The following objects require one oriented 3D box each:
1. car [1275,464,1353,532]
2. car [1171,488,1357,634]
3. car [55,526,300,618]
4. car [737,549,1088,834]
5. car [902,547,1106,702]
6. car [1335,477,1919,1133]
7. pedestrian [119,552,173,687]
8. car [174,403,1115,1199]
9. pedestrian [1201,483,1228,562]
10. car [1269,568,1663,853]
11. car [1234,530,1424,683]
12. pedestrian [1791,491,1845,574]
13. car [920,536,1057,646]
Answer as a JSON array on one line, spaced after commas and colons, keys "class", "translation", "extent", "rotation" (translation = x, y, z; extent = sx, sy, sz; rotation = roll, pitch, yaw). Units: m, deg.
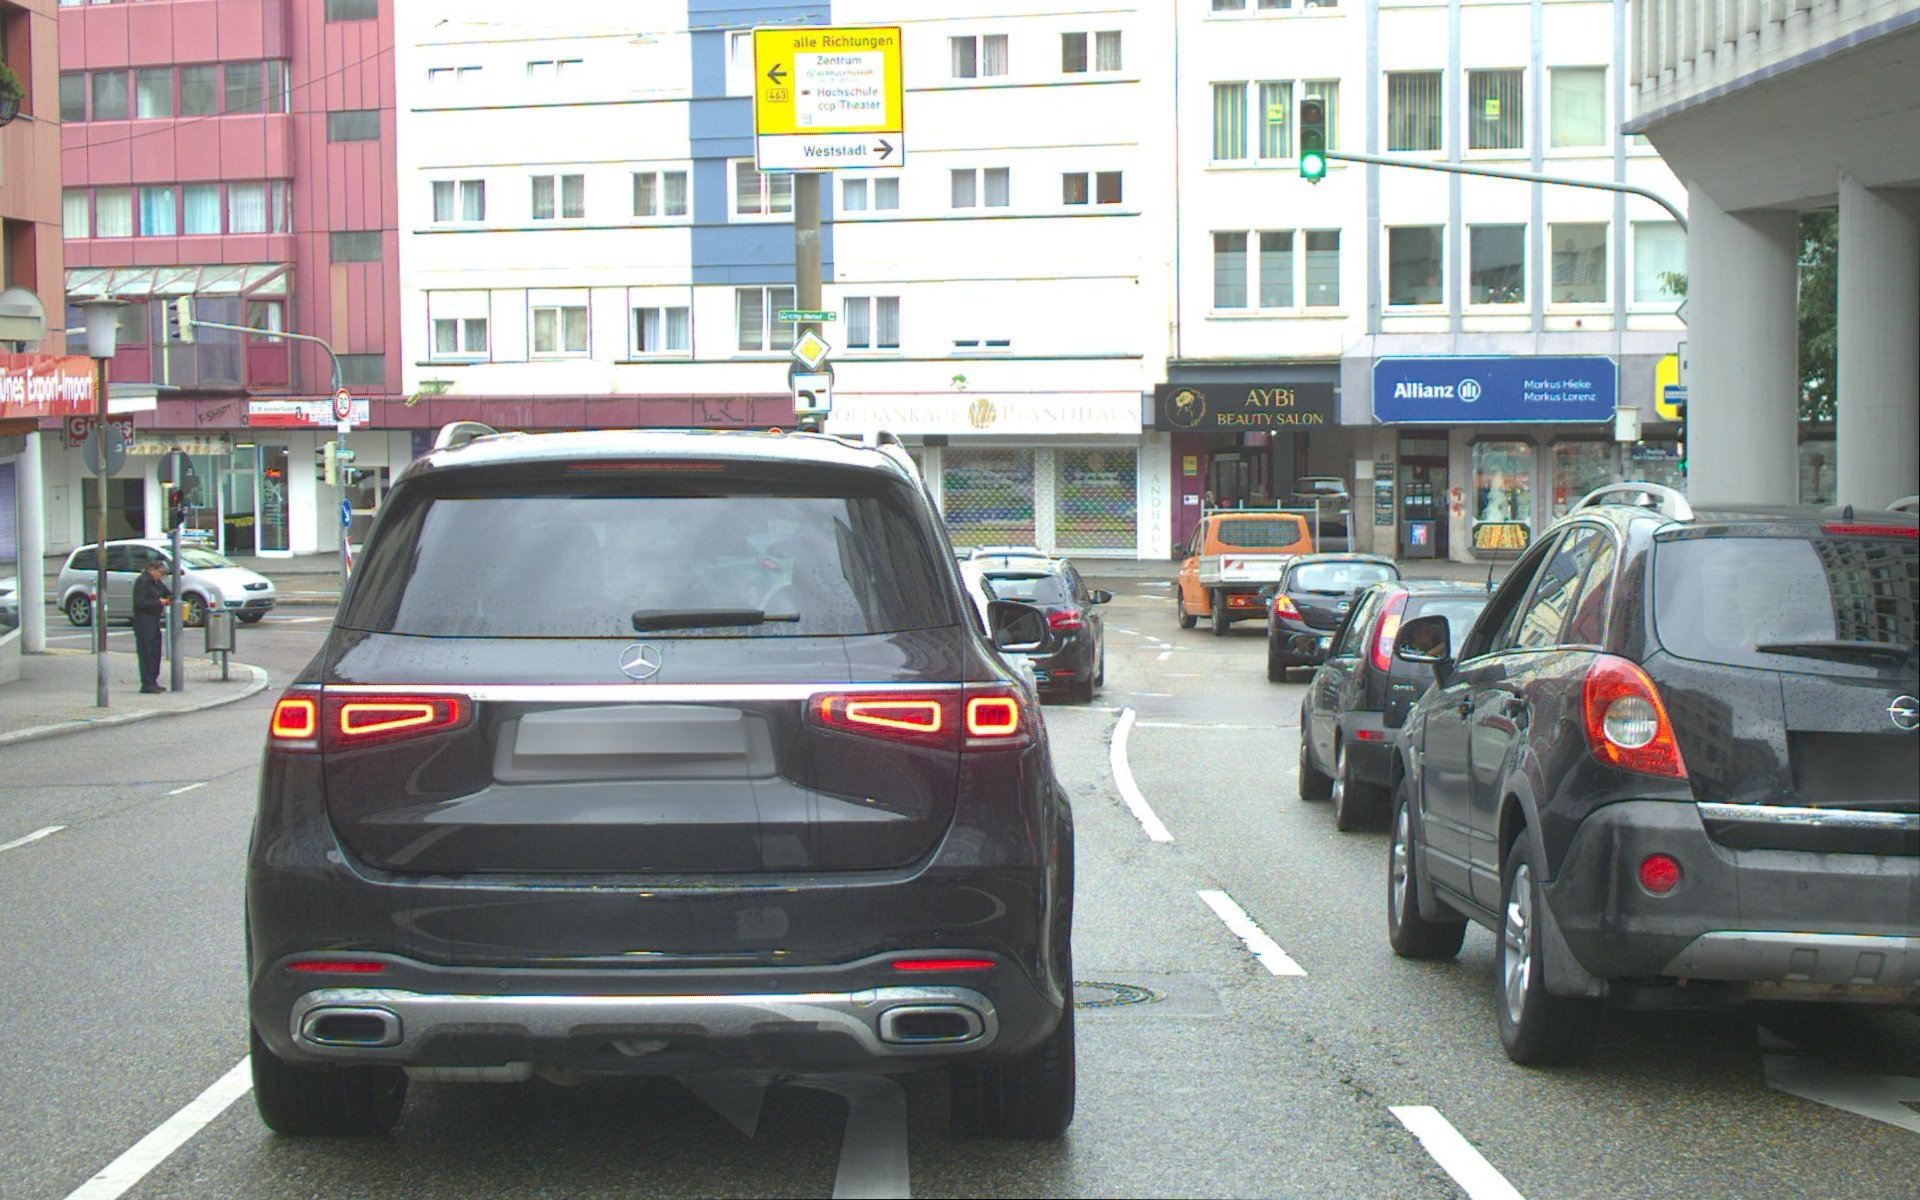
[{"class": "car", "translation": [9.123, -2.609, 88.419], "extent": [1.797, 1.664, 3.999], "rotation": [-1, 1, 8]}, {"class": "car", "translation": [4.857, -0.638, 55.761], "extent": [2.242, 2.220, 5.429], "rotation": [1, 1, -3]}, {"class": "car", "translation": [-14.393, -0.541, 63.242], "extent": [4.167, 1.587, 1.739], "rotation": [1, 2, 23]}, {"class": "car", "translation": [-0.331, 0.461, 20.748], "extent": [1.873, 1.489, 4.401], "rotation": [1, 1, -2]}, {"class": "car", "translation": [0.422, 0.210, 36.066], "extent": [1.993, 1.481, 4.237], "rotation": [-1, 1, 0]}, {"class": "car", "translation": [2.522, 0.523, 11.335], "extent": [1.897, 1.689, 4.506], "rotation": [3, 1, -1]}, {"class": "pedestrian", "translation": [-10.288, 0.244, 43.480], "extent": [0.554, 1.691, 0.624], "rotation": [0, 1, -4]}, {"class": "car", "translation": [-0.771, 0.437, 9.889], "extent": [2.038, 1.793, 4.663], "rotation": [1, 1, -2]}, {"class": "pedestrian", "translation": [5.702, -1.739, 76.872], "extent": [0.564, 1.683, 0.756], "rotation": [0, 7, 6]}, {"class": "car", "translation": [2.887, 0.574, 20.407], "extent": [1.767, 1.392, 4.000], "rotation": [3, 1, 1]}, {"class": "car", "translation": [4.277, 0.061, 40.432], "extent": [1.823, 1.653, 4.495], "rotation": [1, 0, 1]}, {"class": "pedestrian", "translation": [18.189, -1.437, 72.881], "extent": [1.030, 1.683, 0.830], "rotation": [0, 7, 9]}, {"class": "car", "translation": [0.392, -0.108, 51.729], "extent": [1.924, 1.510, 4.663], "rotation": [2, 0, 0]}]
